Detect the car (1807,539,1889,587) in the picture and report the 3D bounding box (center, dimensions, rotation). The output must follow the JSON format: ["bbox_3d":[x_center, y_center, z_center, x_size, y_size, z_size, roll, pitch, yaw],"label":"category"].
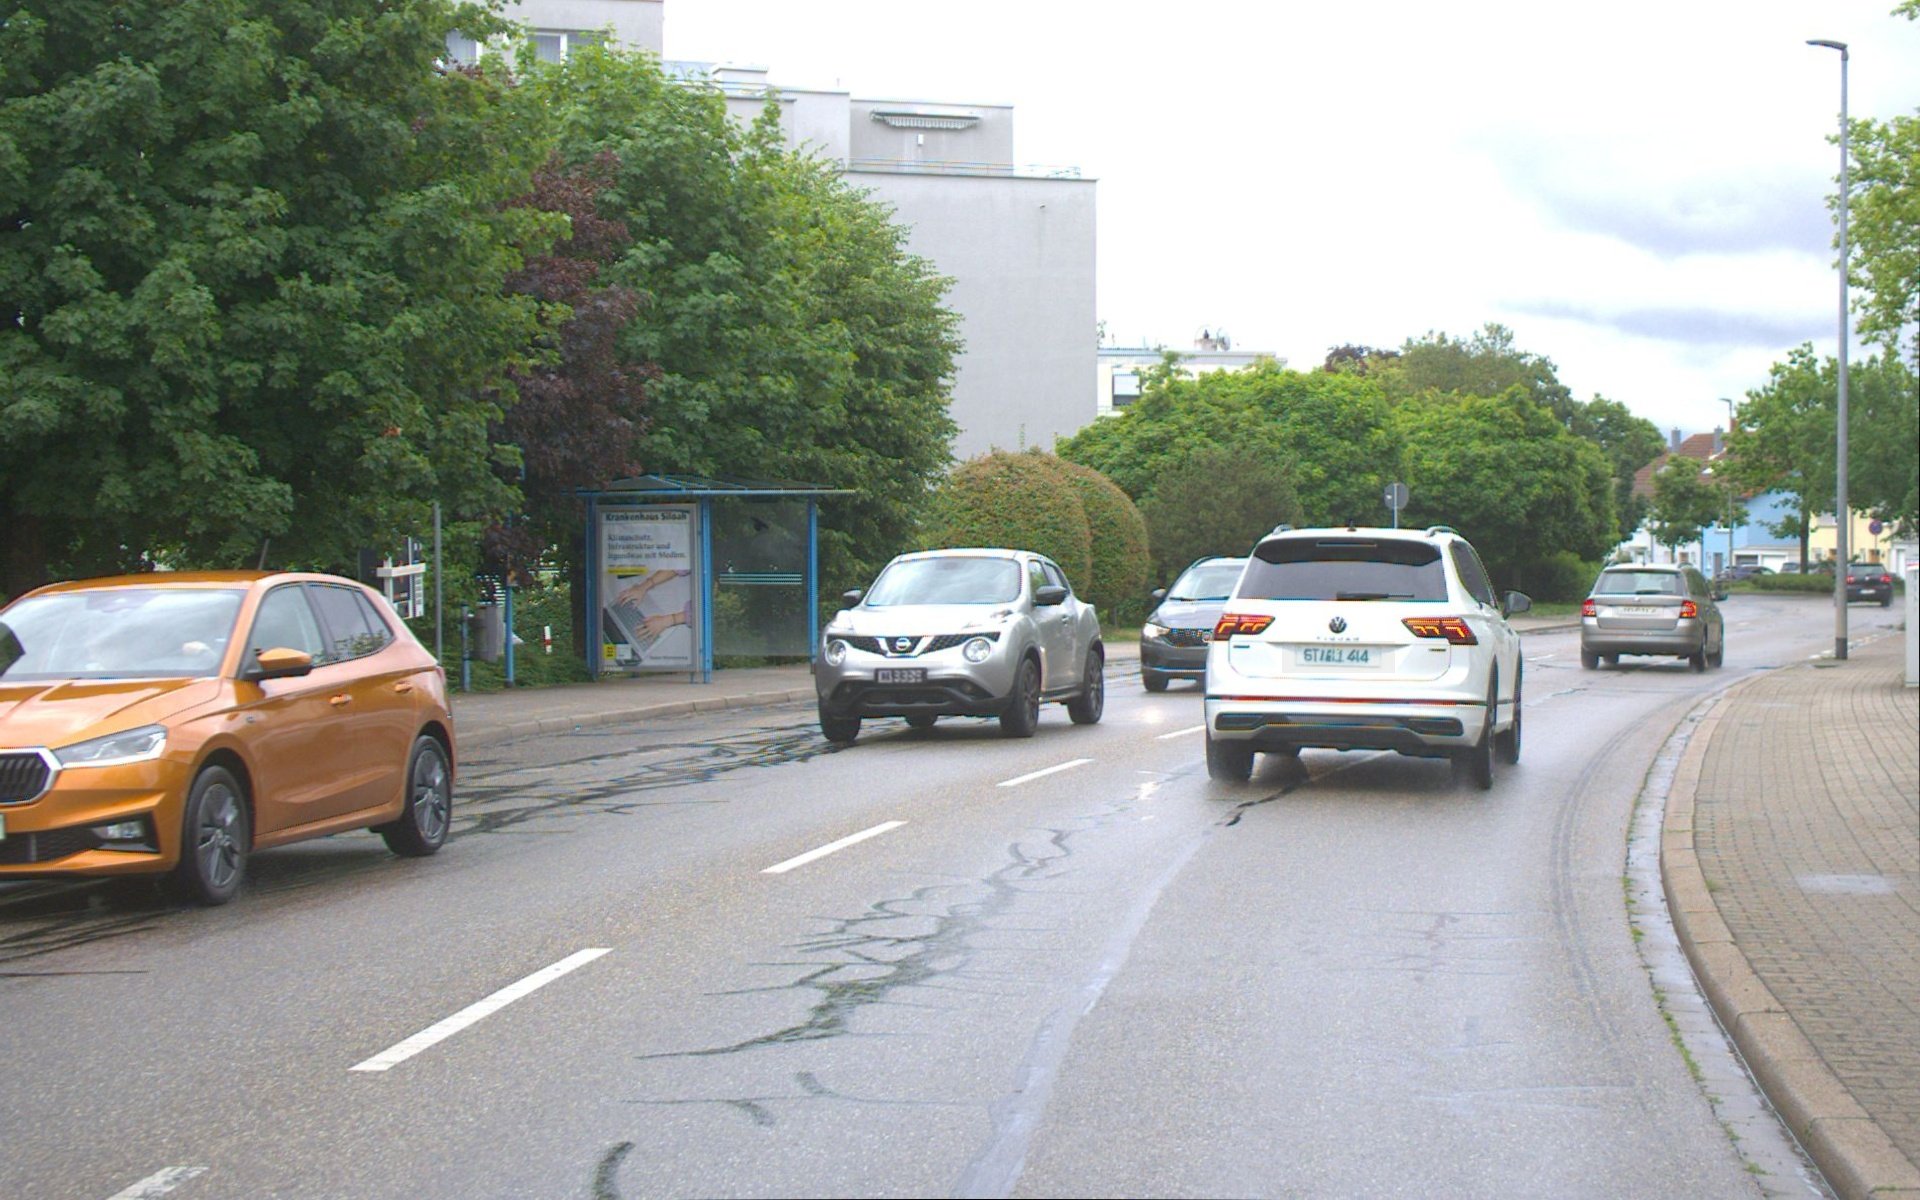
[{"bbox_3d":[29.728,-1.222,115.221,2.006,1.451,3.999,0,-1,5],"label":"car"}]

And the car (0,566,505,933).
[{"bbox_3d":[-3.743,0.583,15.908,1.902,1.434,4.113,0,1,13],"label":"car"}]

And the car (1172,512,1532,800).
[{"bbox_3d":[2.738,0.280,23.167,1.922,1.716,4.263,1,2,13],"label":"car"}]

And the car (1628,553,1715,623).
[{"bbox_3d":[17.407,-0.316,84.005,1.903,1.651,4.113,0,1,14],"label":"car"}]

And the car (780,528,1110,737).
[{"bbox_3d":[-0.044,0.229,29.410,1.902,1.651,4.113,0,1,13],"label":"car"}]

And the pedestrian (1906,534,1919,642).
[{"bbox_3d":[15.058,-0.179,53.411,0.571,1.666,0.721,-1,-1,25],"label":"pedestrian"}]

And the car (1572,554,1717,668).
[{"bbox_3d":[9.489,0.192,47.500,1.766,1.505,3.997,0,-1,14],"label":"car"}]

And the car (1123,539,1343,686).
[{"bbox_3d":[3.194,0.109,39.490,1.902,1.584,4.113,0,1,13],"label":"car"}]
